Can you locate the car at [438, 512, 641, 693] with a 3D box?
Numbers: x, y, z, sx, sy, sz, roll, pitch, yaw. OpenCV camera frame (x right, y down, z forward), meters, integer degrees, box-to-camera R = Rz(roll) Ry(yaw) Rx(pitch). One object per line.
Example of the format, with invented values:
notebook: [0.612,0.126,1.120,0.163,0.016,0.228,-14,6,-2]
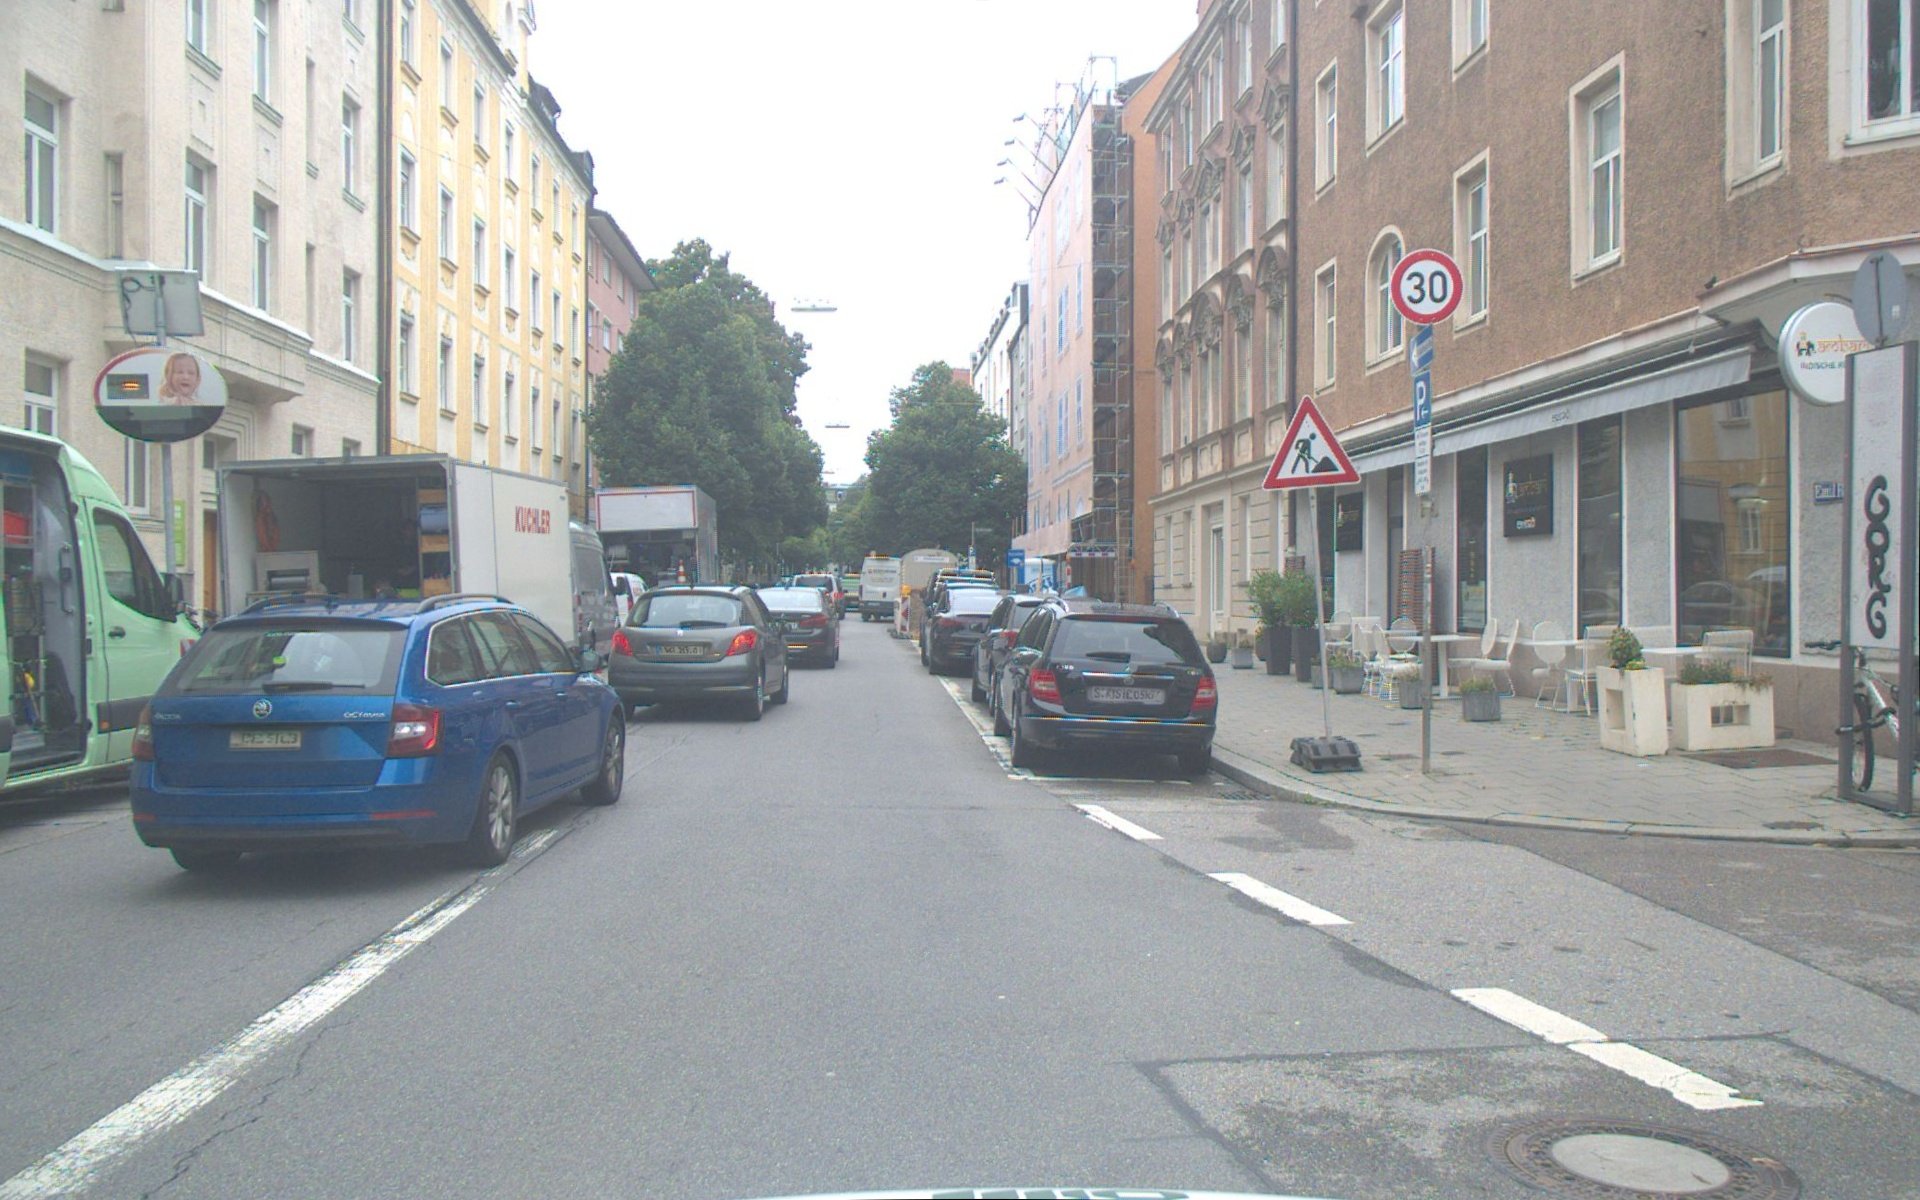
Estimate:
car: [-7.116,0.000,28.840,2.016,2.632,6.871,-4,1,-4]

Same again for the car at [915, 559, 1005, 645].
car: [-0.078,0.112,42.047,2.041,1.955,5.137,1,-2,-2]

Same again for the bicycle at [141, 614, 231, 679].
bicycle: [-11.777,0.696,25.215,0.386,0.930,1.589,3,0,8]

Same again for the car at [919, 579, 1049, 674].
car: [0.336,0.419,30.652,1.893,1.580,5.632,1,0,-4]

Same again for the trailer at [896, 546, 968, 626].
trailer: [-1.152,-0.504,64.176,2.452,2.889,6.896,1,0,-3]

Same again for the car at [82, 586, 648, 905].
car: [-3.207,0.673,9.937,1.752,1.486,4.315,0,0,1]

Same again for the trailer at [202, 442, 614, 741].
trailer: [-6.646,-0.173,21.359,2.747,3.020,7.598,-3,1,-1]

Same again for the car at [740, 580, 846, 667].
car: [-3.098,0.393,31.230,1.831,1.479,4.344,1,1,-4]

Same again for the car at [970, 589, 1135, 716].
car: [1.071,0.594,20.904,1.541,1.419,4.179,-1,0,-4]

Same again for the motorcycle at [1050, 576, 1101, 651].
motorcycle: [2.401,0.268,34.595,0.854,1.531,1.996,0,0,-2]

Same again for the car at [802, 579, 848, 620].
car: [-5.850,-0.054,72.053,1.830,1.681,4.344,1,1,-3]

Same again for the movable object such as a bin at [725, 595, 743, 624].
movable object such as a bin: [-9.364,0.390,68.586,0.698,1.168,0.635,-2,1,-7]

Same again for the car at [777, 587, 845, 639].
car: [-4.310,0.338,48.446,1.830,1.371,4.344,1,1,-3]

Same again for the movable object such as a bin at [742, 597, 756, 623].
movable object such as a bin: [-8.763,0.409,68.690,0.536,1.038,0.635,-2,1,-7]

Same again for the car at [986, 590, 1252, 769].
car: [1.321,0.626,15.696,1.810,1.429,4.785,0,0,-3]

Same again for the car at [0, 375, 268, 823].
car: [-6.686,-0.014,10.405,2.098,2.617,6.791,0,1,-3]

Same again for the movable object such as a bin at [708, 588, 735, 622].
movable object such as a bin: [-9.987,0.198,69.374,1.061,1.400,1.082,-2,1,-8]

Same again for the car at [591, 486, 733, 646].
car: [-7.845,-0.852,44.582,2.757,3.884,8.716,0,0,-4]

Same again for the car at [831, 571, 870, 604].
car: [-5.945,-0.699,89.457,1.969,1.681,4.342,1,1,-6]

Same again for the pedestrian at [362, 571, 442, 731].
pedestrian: [-5.935,0.525,17.588,0.751,1.659,0.633,-1,0,-23]

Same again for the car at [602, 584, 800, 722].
car: [-2.912,0.554,19.311,1.705,1.446,3.664,1,0,0]

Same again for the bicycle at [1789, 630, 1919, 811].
bicycle: [6.138,0.760,10.830,0.485,1.022,1.803,-2,2,-1]

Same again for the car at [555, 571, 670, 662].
car: [-7.535,0.322,36.246,1.727,1.810,4.324,-2,0,-2]

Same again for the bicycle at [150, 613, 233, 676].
bicycle: [-12.089,0.690,26.062,0.407,0.930,1.757,3,0,2]

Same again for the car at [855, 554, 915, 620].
car: [-3.186,-0.532,71.140,2.069,2.710,5.501,1,0,2]

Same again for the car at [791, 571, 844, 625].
car: [-5.295,-0.117,61.812,1.830,1.902,4.344,1,1,-3]

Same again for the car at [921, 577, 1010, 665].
car: [0.061,0.422,35.838,1.660,1.706,4.405,3,0,-2]
